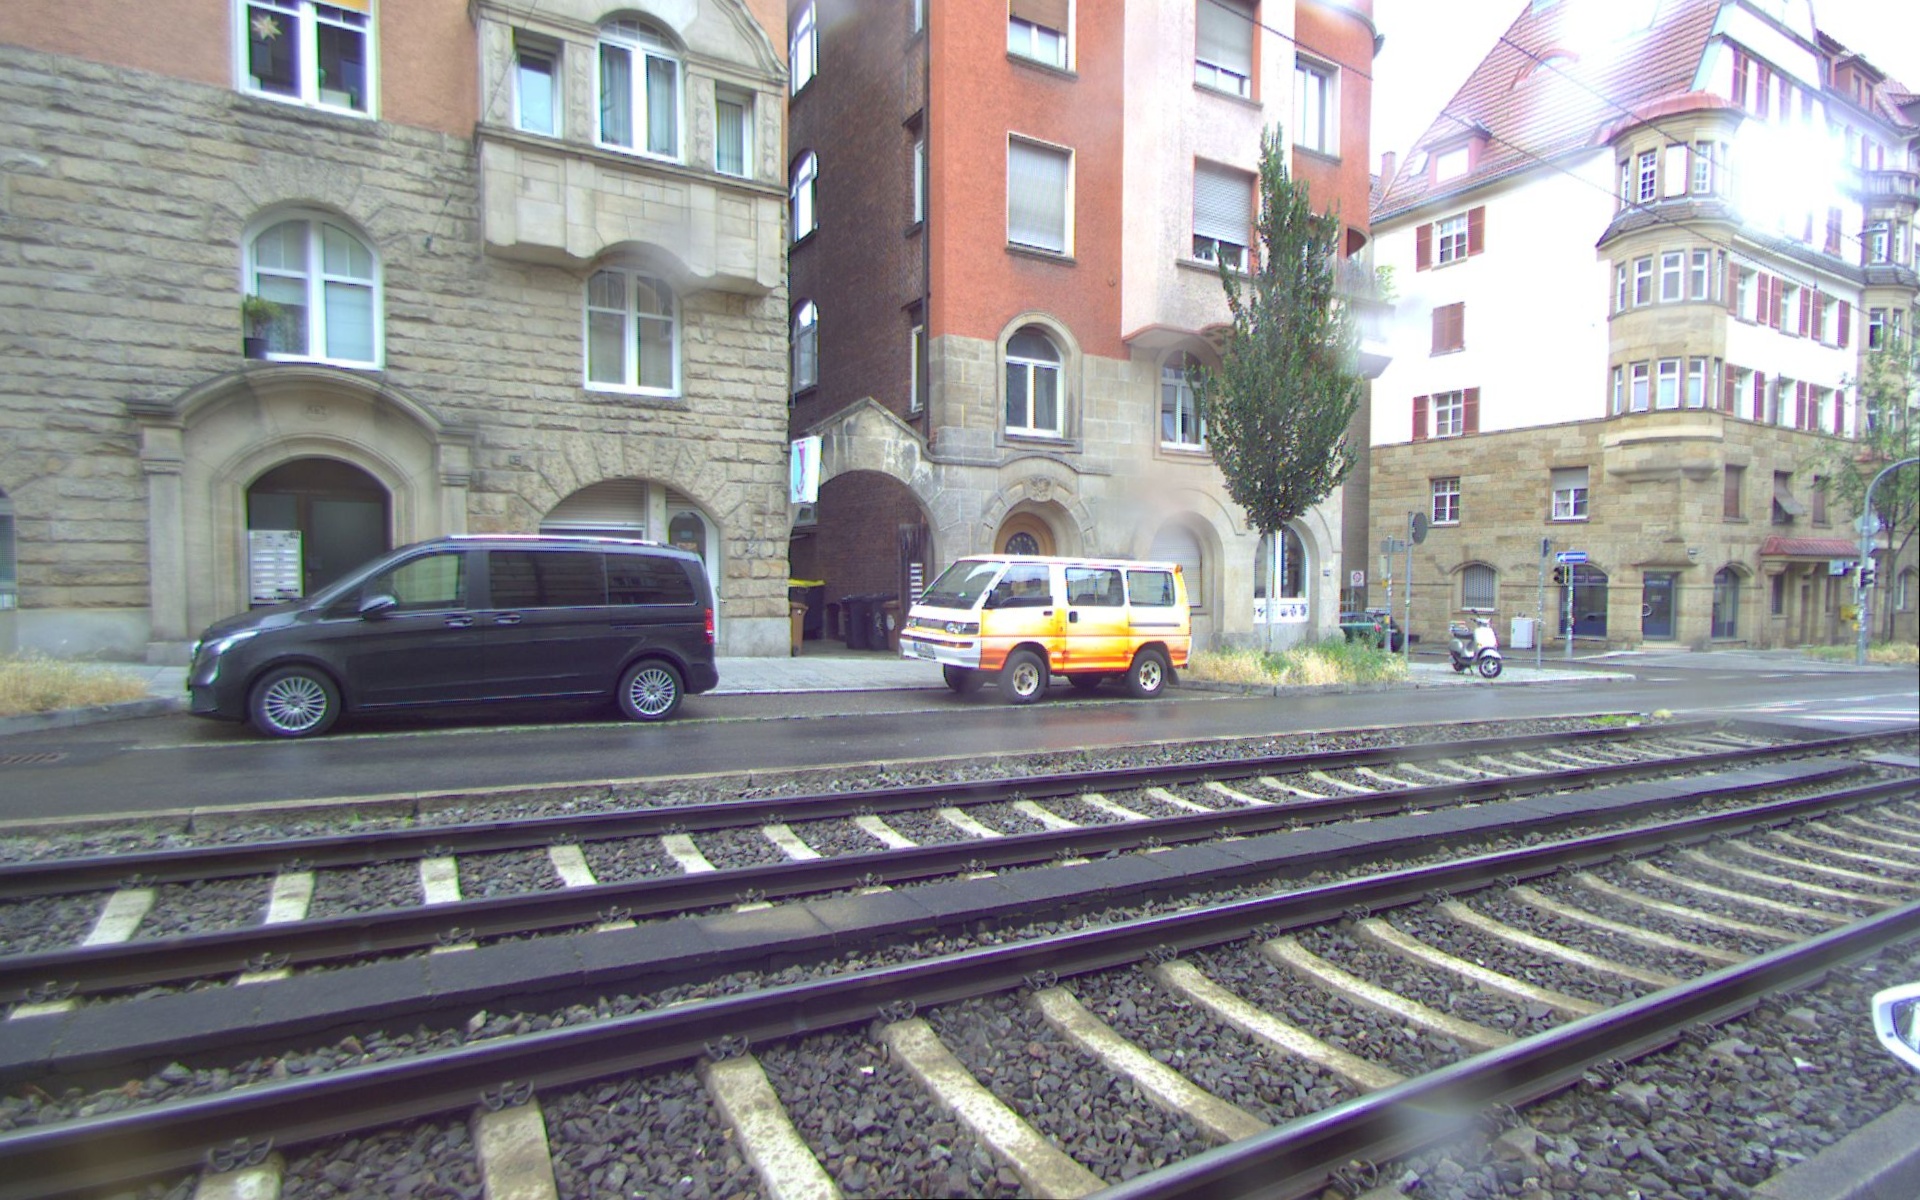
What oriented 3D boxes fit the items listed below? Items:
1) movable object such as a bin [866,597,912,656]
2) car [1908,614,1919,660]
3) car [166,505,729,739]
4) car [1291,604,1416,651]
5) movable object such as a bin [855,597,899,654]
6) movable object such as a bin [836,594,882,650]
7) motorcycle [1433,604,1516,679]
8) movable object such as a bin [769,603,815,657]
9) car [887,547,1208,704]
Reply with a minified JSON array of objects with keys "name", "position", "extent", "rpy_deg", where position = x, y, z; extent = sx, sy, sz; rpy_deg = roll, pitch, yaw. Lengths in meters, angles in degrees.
[{"name":"movable object such as a bin","position":[-1.312,0.491,18.487],"extent":[0.648,1.058,0.545],"rpy_deg":[2,0,-29]},{"name":"car","position":[34.204,1.309,34.299],"extent":[4.130,1.549,1.680],"rpy_deg":[2,0,-32]},{"name":"car","position":[-5.048,0.239,10.454],"extent":[4.777,1.956,1.896],"rpy_deg":[2,0,-31]},{"name":"car","position":[14.627,0.991,37.518],"extent":[1.979,1.595,3.963],"rpy_deg":[2,0,-33]},{"name":"movable object such as a bin","position":[-1.573,0.480,18.984],"extent":[0.648,1.058,0.545],"rpy_deg":[2,0,-29]},{"name":"movable object such as a bin","position":[-1.960,0.427,19.488],"extent":[0.648,1.058,0.676],"rpy_deg":[2,0,-29]},{"name":"motorcycle","position":[10.211,0.792,19.997],"extent":[0.752,1.393,1.785],"rpy_deg":[2,0,2]},{"name":"movable object such as a bin","position":[-2.935,0.518,17.512],"extent":[0.647,0.910,0.544],"rpy_deg":[2,0,-27]},{"name":"car","position":[1.322,0.369,14.419],"extent":[4.426,1.956,1.719],"rpy_deg":[2,0,-32]}]
